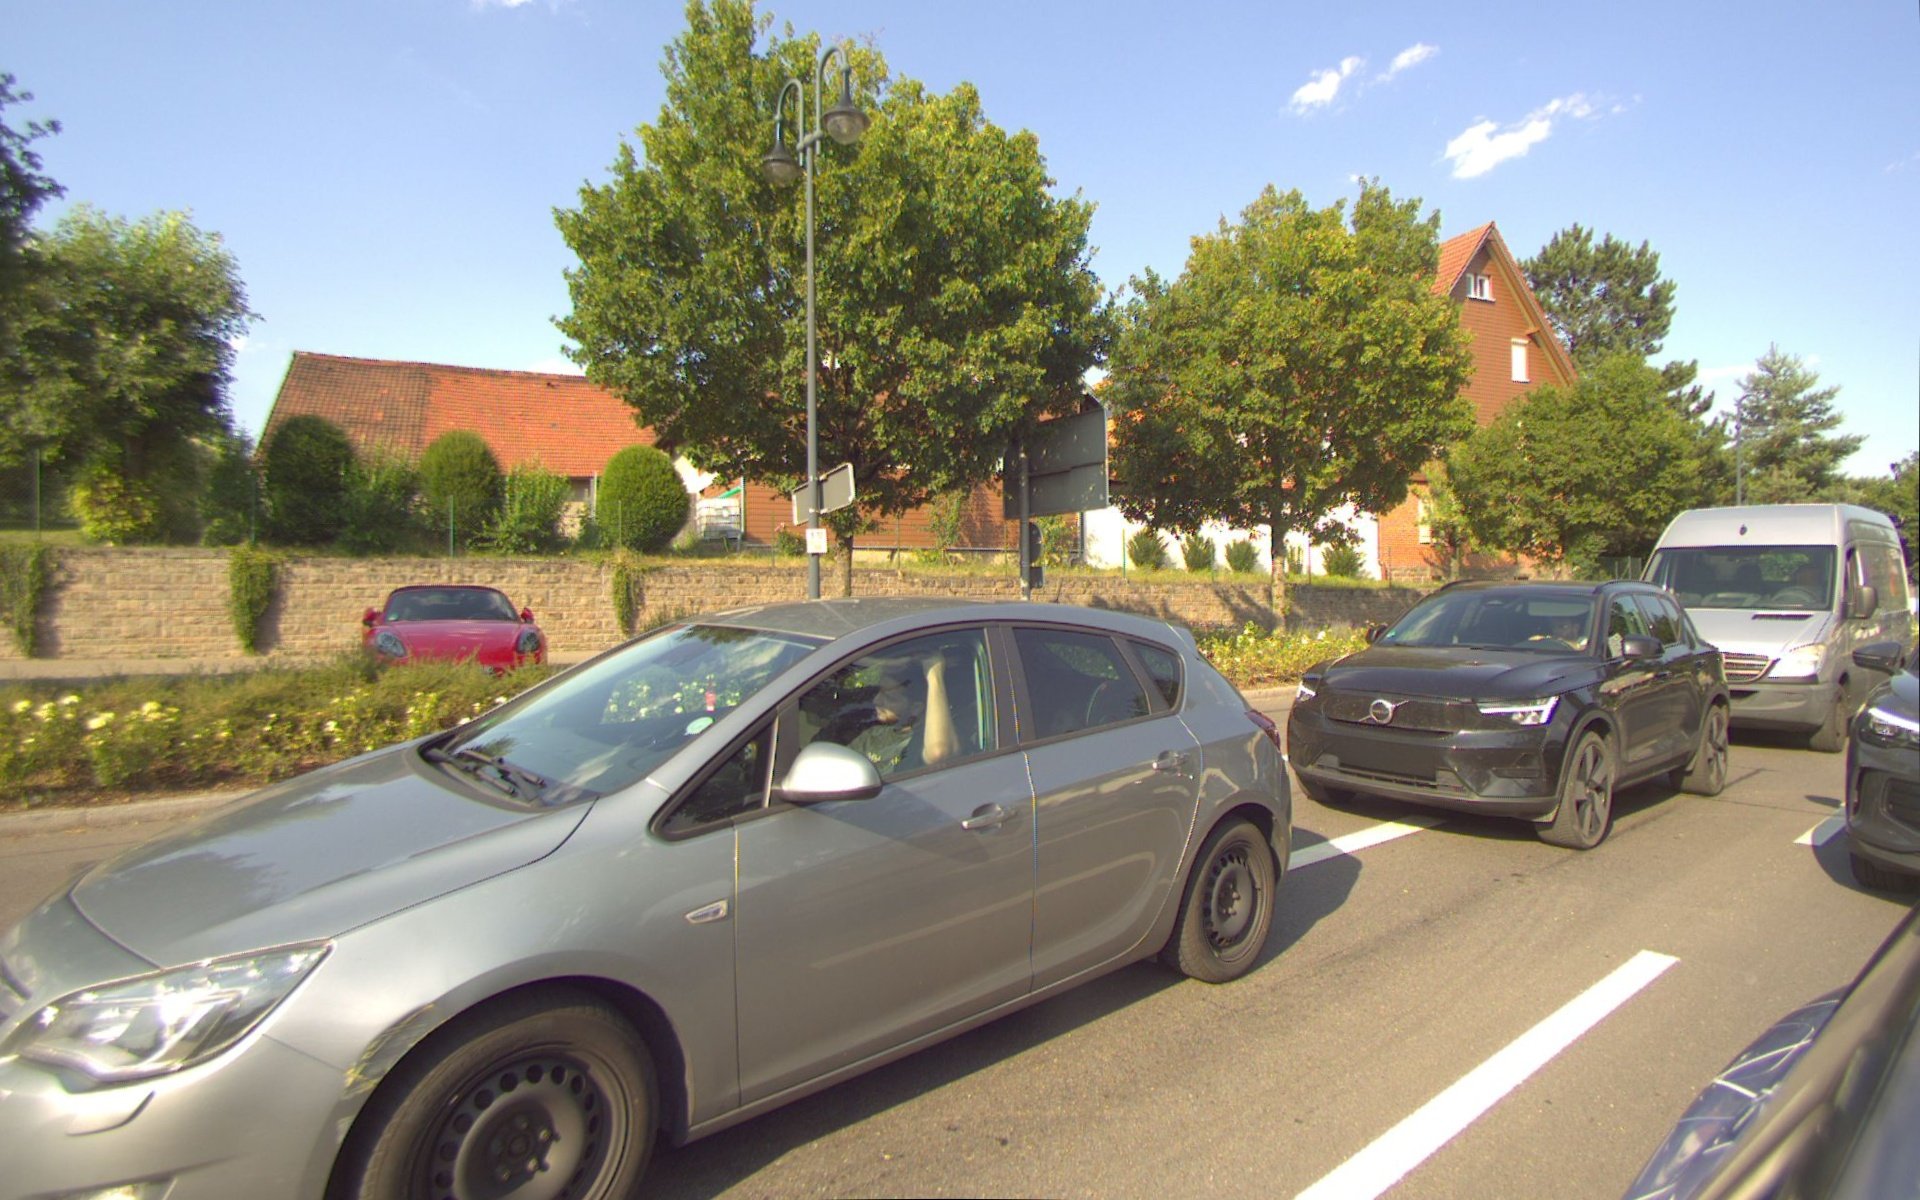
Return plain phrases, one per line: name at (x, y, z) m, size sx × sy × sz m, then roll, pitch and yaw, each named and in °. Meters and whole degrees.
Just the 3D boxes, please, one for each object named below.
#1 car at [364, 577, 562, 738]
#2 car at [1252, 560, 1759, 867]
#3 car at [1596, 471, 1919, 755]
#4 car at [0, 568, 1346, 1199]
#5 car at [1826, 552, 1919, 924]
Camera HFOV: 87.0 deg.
car at (-5.880, 0.527, 11.711) m, size 1.743 × 1.510 × 4.156 m, roll 0°, pitch 0°, yaw -31°
car at (4.177, 0.568, 7.449) m, size 4.242 × 1.629 × 1.844 m, roll 0°, pitch 2°, yaw -40°
car at (9.726, 0.087, 11.951) m, size 5.938 × 2.601 × 1.992 m, roll 0°, pitch 1°, yaw -40°
car at (-0.542, 0.667, 3.520) m, size 4.244 × 1.471 × 1.765 m, roll 0°, pitch 2°, yaw -42°
car at (6.230, 0.619, 5.334) m, size 4.242 × 1.629 × 1.844 m, roll 0°, pitch 2°, yaw -40°
